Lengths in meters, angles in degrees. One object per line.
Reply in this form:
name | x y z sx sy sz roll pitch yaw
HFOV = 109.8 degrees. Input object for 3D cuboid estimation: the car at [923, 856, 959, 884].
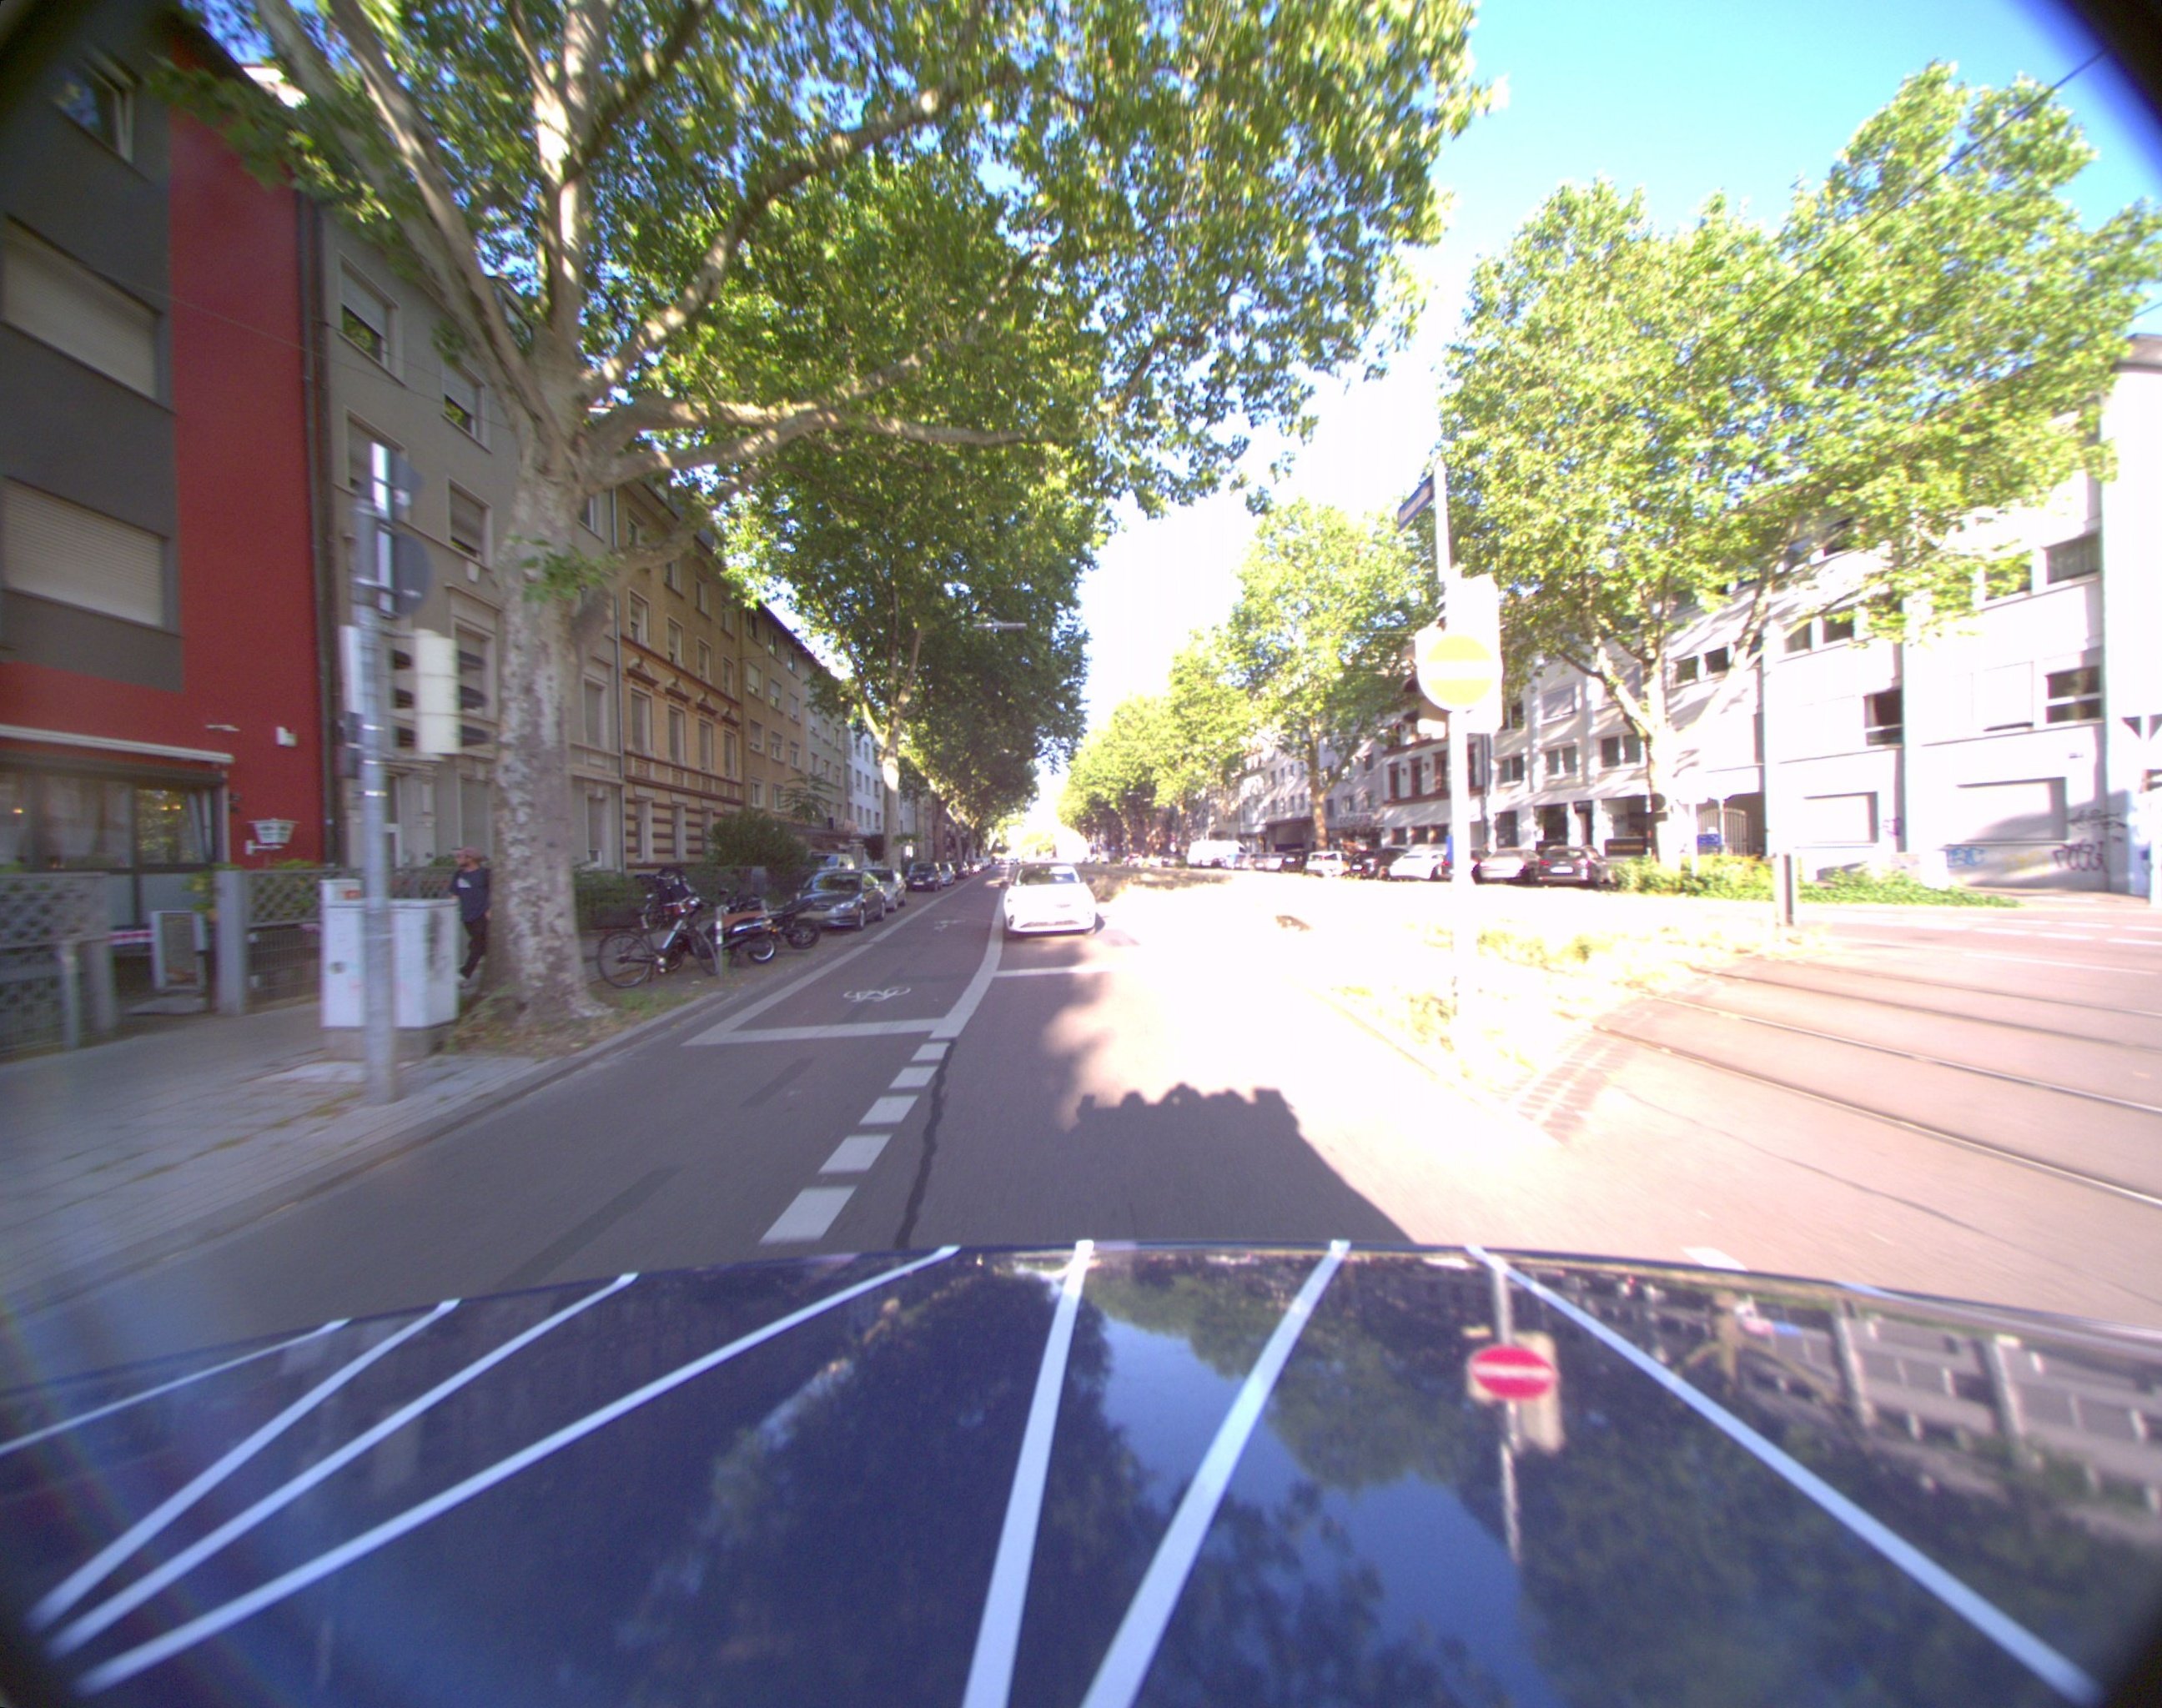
car | -8.728 0.980 47.632 1.803 1.599 4.367 1 0 -6

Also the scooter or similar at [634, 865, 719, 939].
scooter or similar | -8.981 1.007 17.009 0.666 1.461 2.543 -2 0 -4

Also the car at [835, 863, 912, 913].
car | -6.775 1.063 25.261 1.804 1.446 4.509 1 0 -7

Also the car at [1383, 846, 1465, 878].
car | 16.281 0.370 35.980 2.147 1.369 4.266 -1 1 45

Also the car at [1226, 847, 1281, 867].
car | 14.249 0.227 62.628 4.005 1.509 1.996 -2 1 -25

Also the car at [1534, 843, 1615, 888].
car | 17.504 0.376 26.872 1.767 1.423 3.979 -1 1 42

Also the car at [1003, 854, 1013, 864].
car | -16.666 1.082 173.444 1.999 2.002 3.998 -3 1 -4

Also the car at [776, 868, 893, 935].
car | -6.045 1.109 19.139 1.803 1.393 4.368 1 0 -4

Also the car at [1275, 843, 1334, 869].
car | 15.188 0.125 51.565 4.266 1.605 1.902 -2 1 -43

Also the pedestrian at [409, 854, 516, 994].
pedestrian | -7.901 0.868 9.746 0.728 1.701 0.815 1 1 -5

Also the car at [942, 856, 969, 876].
car | -10.036 0.962 60.890 1.803 1.494 4.367 1 0 -6

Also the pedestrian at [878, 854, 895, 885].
pedestrian | -10.080 0.784 39.390 0.728 1.571 0.701 -2 1 -5

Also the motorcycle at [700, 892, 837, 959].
motorcycle | -5.672 1.267 13.859 2.217 1.104 0.662 1 -1 -32

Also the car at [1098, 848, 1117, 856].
car | 5.993 -0.434 170.513 3.995 1.802 1.874 -2 1 5

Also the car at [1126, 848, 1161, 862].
car | 8.246 0.125 100.746 4.236 1.696 1.998 -2 1 -9

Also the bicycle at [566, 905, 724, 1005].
bicycle | -5.679 1.270 10.030 0.620 1.104 1.803 0 -1 22

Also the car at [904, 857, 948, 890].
car | -8.118 0.967 40.024 1.803 1.599 4.367 1 0 -6

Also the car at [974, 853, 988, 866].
car | -14.174 0.790 107.861 1.803 1.742 4.102 1 0 -6

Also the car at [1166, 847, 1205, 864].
car | 12.011 0.165 87.117 4.006 1.805 1.995 -2 1 -32

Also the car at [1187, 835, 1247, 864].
car | 13.438 -0.462 75.031 5.621 2.684 2.175 -2 1 -29

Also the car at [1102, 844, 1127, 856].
car | 6.488 -0.730 147.046 2.096 2.200 4.951 -1 1 43

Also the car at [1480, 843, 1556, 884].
car | 17.422 0.353 30.225 1.738 1.424 3.979 -3 -1 42

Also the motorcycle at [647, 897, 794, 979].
motorcycle | -5.519 1.242 11.733 0.783 1.104 1.895 -1 -1 43

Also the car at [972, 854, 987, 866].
car | -13.611 0.771 101.854 1.803 1.599 4.102 1 0 -6

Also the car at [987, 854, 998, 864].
car | -14.533 0.742 125.071 1.803 1.598 3.700 1 0 -6

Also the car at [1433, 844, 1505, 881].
car | 17.152 0.354 33.506 1.827 1.495 3.979 -1 1 42

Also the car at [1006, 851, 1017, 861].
car | -14.060 0.366 154.285 1.999 2.002 3.998 -4 1 -5

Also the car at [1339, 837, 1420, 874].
car | 16.746 0.087 42.646 4.261 1.932 1.514 -2 1 -20

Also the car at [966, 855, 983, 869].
car | -12.467 0.888 89.159 1.803 1.599 4.102 1 0 -6

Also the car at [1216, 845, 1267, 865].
car | 13.880 0.118 65.733 4.006 1.608 1.995 -2 1 -32

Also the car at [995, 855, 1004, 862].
car | -24.220 1.351 225.619 1.998 1.850 3.999 -3 1 0

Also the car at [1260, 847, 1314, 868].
car | 15.005 0.246 55.197 4.265 1.451 1.598 -2 1 -41

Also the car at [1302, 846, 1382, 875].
car | 15.159 0.347 44.133 4.261 1.549 1.640 -2 1 -20

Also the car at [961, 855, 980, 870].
car | -11.745 0.901 81.190 1.803 1.599 4.102 1 0 -6

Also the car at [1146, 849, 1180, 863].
car | 10.697 0.211 98.823 4.006 1.696 1.995 -2 1 -32

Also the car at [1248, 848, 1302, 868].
car | 14.950 0.297 58.481 4.265 1.449 1.902 -2 1 -41

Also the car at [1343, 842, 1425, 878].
car | 15.676 0.290 39.245 4.265 1.674 2.147 -2 1 -40

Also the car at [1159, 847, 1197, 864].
car | 11.544 0.163 90.360 4.006 1.805 1.995 -2 1 -32

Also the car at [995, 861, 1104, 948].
car | -0.737 0.912 15.463 1.866 1.394 3.930 -3 1 -6

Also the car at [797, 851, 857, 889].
car | -13.052 0.768 39.349 1.934 1.864 4.675 1 0 -6

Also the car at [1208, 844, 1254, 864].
car | 14.307 -0.003 72.353 4.006 1.805 1.995 -2 1 -32
